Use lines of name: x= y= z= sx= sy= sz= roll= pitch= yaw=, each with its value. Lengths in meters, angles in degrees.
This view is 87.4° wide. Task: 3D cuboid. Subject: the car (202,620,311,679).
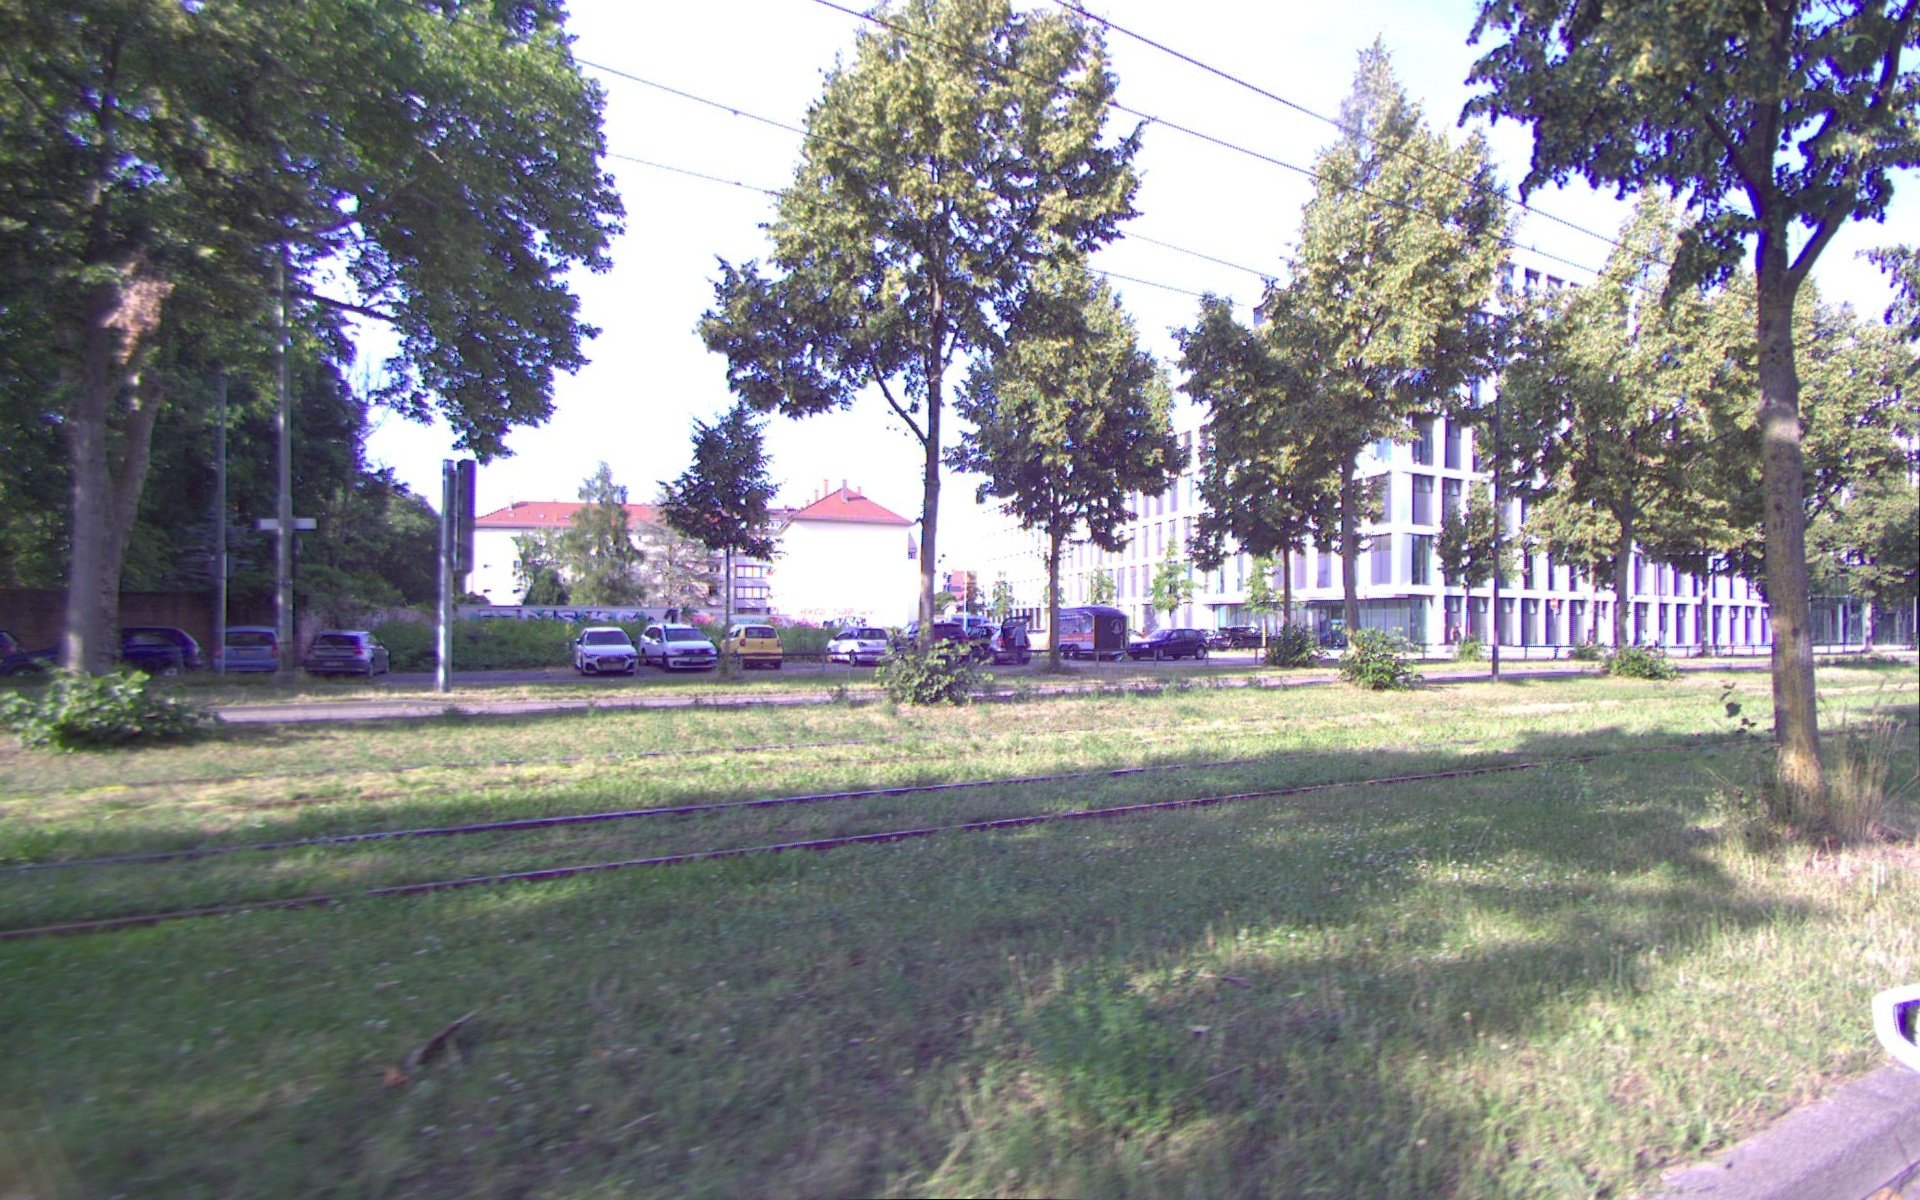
car: x=-20.611 y=1.410 z=29.591 sx=1.718 sy=1.506 sz=3.850 roll=2 pitch=0 yaw=-21

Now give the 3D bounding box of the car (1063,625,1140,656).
car: x=8.076 y=2.313 z=57.416 sx=3.938 sy=1.617 sz=1.846 roll=2 pitch=0 yaw=-19

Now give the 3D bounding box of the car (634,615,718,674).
car: x=-9.998 y=1.478 z=35.072 sx=1.861 sy=1.758 sz=5.041 roll=2 pitch=0 yaw=-27

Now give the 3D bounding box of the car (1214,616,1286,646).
car: x=18.122 y=1.930 z=62.874 sx=3.933 sy=1.694 sz=1.855 roll=2 pitch=0 yaw=-14

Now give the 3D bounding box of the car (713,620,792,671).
car: x=-7.582 y=1.610 z=36.441 sx=1.832 sy=1.581 sz=3.972 roll=2 pitch=0 yaw=-27

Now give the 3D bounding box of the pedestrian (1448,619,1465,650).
pedestrian: x=28.610 y=1.971 z=57.915 sx=0.683 sy=1.751 sz=0.565 roll=1 pitch=1 yaw=-30

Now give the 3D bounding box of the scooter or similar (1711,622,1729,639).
scooter or similar: x=56.145 y=2.258 z=74.186 sx=1.277 sy=1.242 sz=0.335 roll=2 pitch=0 yaw=-17

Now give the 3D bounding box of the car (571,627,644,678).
car: x=-11.663 y=1.698 z=33.104 sx=1.786 sy=1.447 sz=3.633 roll=2 pitch=0 yaw=-27

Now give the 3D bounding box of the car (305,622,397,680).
car: x=-18.376 y=1.514 z=30.468 sx=1.718 sy=1.506 sz=3.850 roll=2 pitch=0 yaw=-21

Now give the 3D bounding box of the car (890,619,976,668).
car: x=-1.104 y=1.663 z=39.072 sx=1.736 sy=1.665 sz=3.975 roll=2 pitch=0 yaw=-29

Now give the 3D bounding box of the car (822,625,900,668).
car: x=-3.843 y=1.747 z=38.515 sx=1.705 sy=1.444 sz=3.552 roll=2 pitch=0 yaw=-29

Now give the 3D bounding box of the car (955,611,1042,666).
car: x=1.498 y=1.521 z=40.743 sx=1.736 sy=1.973 sz=3.975 roll=2 pitch=0 yaw=-29

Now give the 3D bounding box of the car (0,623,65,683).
car: x=-25.891 y=1.356 z=25.717 sx=4.324 sy=1.461 sz=1.772 roll=2 pitch=0 yaw=-39

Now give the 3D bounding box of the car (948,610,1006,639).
car: x=1.373 y=2.027 z=82.976 sx=4.423 sy=2.187 sz=1.847 roll=2 pitch=0 yaw=-18

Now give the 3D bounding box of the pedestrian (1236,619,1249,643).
pedestrian: x=19.881 y=2.167 z=70.664 sx=0.622 sy=1.652 sz=0.591 roll=2 pitch=4 yaw=-6

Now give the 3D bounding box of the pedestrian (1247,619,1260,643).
pedestrian: x=20.651 y=2.190 z=70.714 sx=0.622 sy=1.652 sz=0.591 roll=2 pitch=4 yaw=-6

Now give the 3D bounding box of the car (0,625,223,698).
car: x=-19.175 y=1.336 z=22.719 sx=3.999 sy=1.454 sz=1.669 roll=2 pitch=0 yaw=-38

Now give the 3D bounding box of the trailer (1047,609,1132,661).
trailer: x=5.652 y=1.505 z=44.336 sx=1.733 sy=2.081 sz=4.354 roll=2 pitch=0 yaw=-23

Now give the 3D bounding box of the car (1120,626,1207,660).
car: x=9.208 y=1.950 z=45.413 sx=3.722 sy=1.412 sz=1.669 roll=2 pitch=0 yaw=-33

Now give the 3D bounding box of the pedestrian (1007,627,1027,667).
pedestrian: x=2.220 y=1.822 z=39.133 sx=0.562 sy=1.500 sz=0.519 roll=1 pitch=1 yaw=-30

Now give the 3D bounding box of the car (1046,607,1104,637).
car: x=10.593 y=2.011 z=92.843 sx=4.944 sy=2.566 sz=1.806 roll=2 pitch=0 yaw=-14
